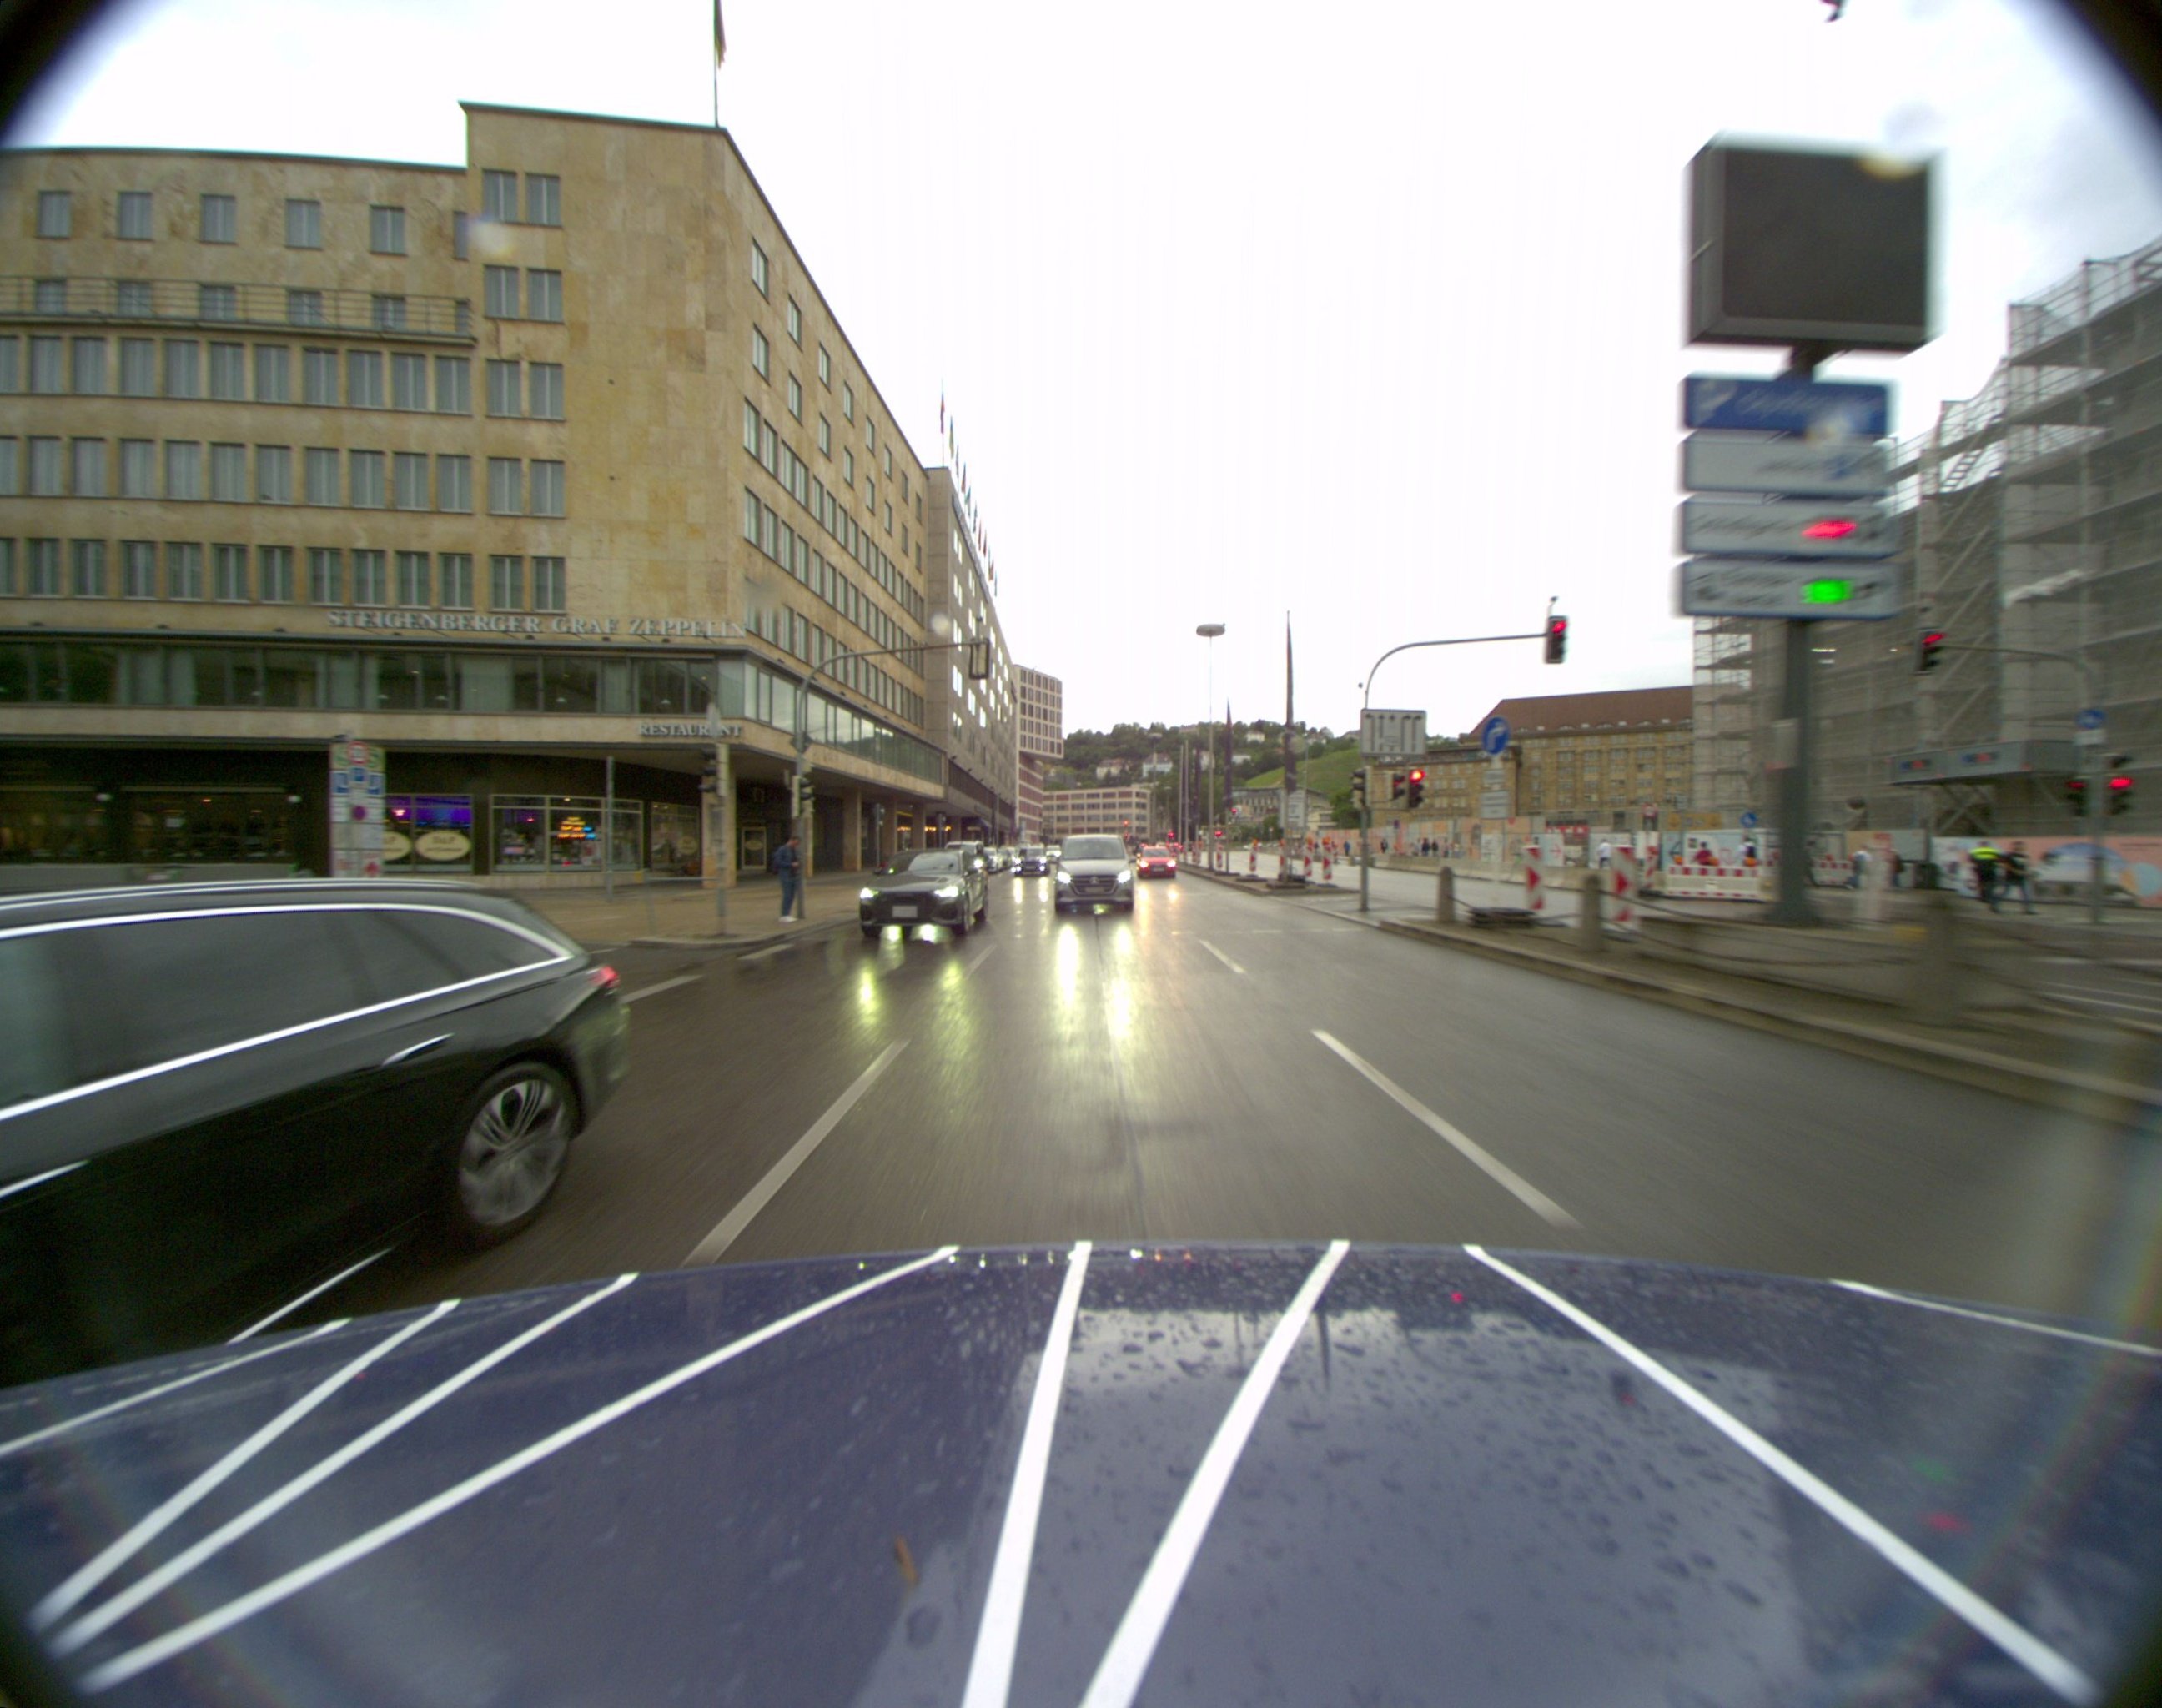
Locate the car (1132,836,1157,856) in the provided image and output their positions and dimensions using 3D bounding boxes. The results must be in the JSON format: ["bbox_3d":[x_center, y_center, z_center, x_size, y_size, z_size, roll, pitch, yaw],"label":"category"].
[{"bbox_3d":[5.003,-0.657,59.887,1.672,1.513,3.724,-1,1,0],"label":"car"}]

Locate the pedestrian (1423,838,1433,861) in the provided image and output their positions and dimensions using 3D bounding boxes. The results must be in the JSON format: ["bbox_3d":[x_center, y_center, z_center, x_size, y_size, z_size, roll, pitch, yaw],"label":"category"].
[{"bbox_3d":[26.416,-0.357,57.868,0.517,1.745,0.463,-1,2,0],"label":"pedestrian"}]

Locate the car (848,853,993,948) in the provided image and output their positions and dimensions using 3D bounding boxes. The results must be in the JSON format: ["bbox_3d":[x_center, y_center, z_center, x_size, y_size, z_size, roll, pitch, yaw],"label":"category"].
[{"bbox_3d":[-2.894,0.769,14.667,1.877,1.499,4.163,0,1,0],"label":"car"}]

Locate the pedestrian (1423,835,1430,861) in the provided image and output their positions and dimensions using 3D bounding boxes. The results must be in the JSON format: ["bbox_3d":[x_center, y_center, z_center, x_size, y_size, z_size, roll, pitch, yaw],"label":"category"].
[{"bbox_3d":[23.909,-0.406,52.563,0.368,1.760,0.365,-1,1,1],"label":"pedestrian"}]

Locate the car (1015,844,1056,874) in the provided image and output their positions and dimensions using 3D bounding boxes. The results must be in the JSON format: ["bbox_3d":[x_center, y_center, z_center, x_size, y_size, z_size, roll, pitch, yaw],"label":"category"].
[{"bbox_3d":[-2.435,0.250,41.617,1.998,1.549,3.907,0,1,0],"label":"car"}]

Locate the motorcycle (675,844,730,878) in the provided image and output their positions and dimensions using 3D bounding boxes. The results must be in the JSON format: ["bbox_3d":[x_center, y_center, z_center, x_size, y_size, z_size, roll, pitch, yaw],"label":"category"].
[{"bbox_3d":[-16.678,0.282,33.585,0.964,1.445,2.850,0,1,0],"label":"motorcycle"}]

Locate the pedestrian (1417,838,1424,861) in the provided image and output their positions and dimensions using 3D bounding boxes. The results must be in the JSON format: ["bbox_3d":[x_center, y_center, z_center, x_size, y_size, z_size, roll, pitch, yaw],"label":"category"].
[{"bbox_3d":[23.553,-0.334,52.673,0.350,1.607,0.321,-1,1,1],"label":"pedestrian"}]

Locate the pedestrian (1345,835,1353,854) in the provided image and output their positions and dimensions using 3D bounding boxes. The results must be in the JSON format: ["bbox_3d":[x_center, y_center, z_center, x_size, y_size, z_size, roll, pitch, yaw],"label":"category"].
[{"bbox_3d":[27.912,-0.986,79.067,0.593,2.022,0.686,-1,1,0],"label":"pedestrian"}]

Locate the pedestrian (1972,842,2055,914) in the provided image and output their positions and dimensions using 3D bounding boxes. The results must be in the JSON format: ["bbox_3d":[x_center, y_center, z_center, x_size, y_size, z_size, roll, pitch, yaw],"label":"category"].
[{"bbox_3d":[22.130,0.554,18.051,0.756,1.671,0.964,0,1,0],"label":"pedestrian"}]

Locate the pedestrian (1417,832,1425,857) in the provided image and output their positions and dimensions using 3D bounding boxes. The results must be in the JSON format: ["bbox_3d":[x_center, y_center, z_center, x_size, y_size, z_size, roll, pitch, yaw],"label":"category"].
[{"bbox_3d":[24.074,-0.706,53.829,0.367,1.760,0.390,-1,1,4],"label":"pedestrian"}]

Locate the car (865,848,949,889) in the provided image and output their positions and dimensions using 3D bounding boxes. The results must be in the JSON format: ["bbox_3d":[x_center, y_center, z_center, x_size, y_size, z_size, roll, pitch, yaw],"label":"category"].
[{"bbox_3d":[-6.627,0.515,29.523,2.194,1.406,4.481,0,1,0],"label":"car"}]

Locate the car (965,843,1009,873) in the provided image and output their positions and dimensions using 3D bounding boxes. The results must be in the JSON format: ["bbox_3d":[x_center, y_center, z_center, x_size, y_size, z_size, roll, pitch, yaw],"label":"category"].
[{"bbox_3d":[-5.570,0.193,45.602,1.998,1.644,5.133,0,1,0],"label":"car"}]

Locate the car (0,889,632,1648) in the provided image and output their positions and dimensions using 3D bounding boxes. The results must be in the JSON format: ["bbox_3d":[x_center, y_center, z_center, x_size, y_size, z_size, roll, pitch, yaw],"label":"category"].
[{"bbox_3d":[-3.194,0.956,1.461,1.823,1.455,4.699,-1,1,0],"label":"car"}]

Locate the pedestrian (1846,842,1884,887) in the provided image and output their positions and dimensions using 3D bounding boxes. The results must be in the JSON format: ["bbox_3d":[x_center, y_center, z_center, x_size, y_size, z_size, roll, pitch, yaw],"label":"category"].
[{"bbox_3d":[29.433,0.375,28.527,0.665,1.655,0.697,-1,3,-11],"label":"pedestrian"}]

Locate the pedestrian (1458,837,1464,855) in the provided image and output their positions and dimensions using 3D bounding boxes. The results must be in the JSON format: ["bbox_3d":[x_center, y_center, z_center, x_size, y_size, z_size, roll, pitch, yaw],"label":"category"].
[{"bbox_3d":[25.561,-0.538,51.126,0.255,1.187,0.390,-1,2,6],"label":"pedestrian"}]

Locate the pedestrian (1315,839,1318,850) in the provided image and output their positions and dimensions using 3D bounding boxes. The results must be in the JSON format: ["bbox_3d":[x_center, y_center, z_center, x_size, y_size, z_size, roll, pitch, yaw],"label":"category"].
[{"bbox_3d":[28.323,-1.158,91.237,0.271,1.304,0.351,-1,1,0],"label":"pedestrian"}]

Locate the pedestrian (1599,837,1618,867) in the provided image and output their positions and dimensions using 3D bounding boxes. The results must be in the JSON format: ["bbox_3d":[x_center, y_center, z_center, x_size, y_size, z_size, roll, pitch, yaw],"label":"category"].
[{"bbox_3d":[25.780,-0.115,37.115,0.565,1.435,0.528,0,2,8],"label":"pedestrian"}]

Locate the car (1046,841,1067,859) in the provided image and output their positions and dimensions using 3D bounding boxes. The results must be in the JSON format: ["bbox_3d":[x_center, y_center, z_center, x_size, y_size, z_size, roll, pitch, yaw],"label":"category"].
[{"bbox_3d":[-2.291,-0.372,70.762,1.763,1.582,3.841,-1,1,0],"label":"car"}]

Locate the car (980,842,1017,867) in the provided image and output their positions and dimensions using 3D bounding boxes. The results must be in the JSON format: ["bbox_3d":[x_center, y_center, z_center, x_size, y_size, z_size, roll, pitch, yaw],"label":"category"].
[{"bbox_3d":[-5.530,-0.006,51.575,1.998,1.627,4.559,0,1,0],"label":"car"}]

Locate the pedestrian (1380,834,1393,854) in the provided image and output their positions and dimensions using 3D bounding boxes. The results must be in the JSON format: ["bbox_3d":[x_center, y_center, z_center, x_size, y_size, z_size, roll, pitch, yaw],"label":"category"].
[{"bbox_3d":[25.494,-0.835,63.453,0.807,1.675,0.617,0,2,3],"label":"pedestrian"}]

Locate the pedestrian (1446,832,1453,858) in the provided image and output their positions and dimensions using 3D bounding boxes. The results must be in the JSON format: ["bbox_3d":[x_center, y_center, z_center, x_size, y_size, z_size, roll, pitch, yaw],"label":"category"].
[{"bbox_3d":[25.014,-0.625,51.553,0.314,1.760,0.268,-1,2,4],"label":"pedestrian"}]

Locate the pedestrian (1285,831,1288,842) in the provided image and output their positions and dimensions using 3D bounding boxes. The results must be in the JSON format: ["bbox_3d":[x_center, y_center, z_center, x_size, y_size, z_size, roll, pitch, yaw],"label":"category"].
[{"bbox_3d":[30.814,-2.591,113.957,0.334,1.607,0.323,-1,1,0],"label":"pedestrian"}]

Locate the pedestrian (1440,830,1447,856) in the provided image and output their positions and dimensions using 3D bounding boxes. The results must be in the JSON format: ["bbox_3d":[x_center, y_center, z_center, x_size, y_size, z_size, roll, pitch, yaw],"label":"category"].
[{"bbox_3d":[24.614,-0.716,51.578,0.311,1.760,0.346,-1,1,4],"label":"pedestrian"}]

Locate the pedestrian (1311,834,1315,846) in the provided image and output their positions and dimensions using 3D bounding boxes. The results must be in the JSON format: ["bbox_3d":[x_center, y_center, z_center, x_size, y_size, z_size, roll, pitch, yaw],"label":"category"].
[{"bbox_3d":[28.947,-1.736,94.881,0.438,1.407,0.413,-1,1,0],"label":"pedestrian"}]

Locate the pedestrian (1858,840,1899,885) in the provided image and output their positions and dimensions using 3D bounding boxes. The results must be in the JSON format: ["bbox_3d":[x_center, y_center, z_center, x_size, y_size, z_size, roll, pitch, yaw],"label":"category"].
[{"bbox_3d":[31.226,0.306,29.764,0.710,1.726,0.952,-1,2,-29],"label":"pedestrian"}]

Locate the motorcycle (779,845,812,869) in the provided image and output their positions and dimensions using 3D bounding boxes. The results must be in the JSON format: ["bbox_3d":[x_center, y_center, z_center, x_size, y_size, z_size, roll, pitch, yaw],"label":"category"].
[{"bbox_3d":[-15.171,0.159,40.448,0.730,1.223,2.536,0,1,0],"label":"motorcycle"}]

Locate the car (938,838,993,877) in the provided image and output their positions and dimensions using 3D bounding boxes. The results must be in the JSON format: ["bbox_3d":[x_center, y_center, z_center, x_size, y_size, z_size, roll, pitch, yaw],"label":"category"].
[{"bbox_3d":[-5.850,0.141,39.115,1.998,1.874,4.996,0,1,0],"label":"car"}]

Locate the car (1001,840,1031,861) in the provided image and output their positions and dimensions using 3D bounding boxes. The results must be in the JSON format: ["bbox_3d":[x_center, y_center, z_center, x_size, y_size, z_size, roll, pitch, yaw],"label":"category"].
[{"bbox_3d":[-5.379,-0.332,63.197,1.998,1.605,4.917,0,1,0],"label":"car"}]

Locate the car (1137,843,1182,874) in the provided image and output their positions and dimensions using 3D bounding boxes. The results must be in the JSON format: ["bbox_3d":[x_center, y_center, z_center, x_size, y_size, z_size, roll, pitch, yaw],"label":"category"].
[{"bbox_3d":[3.639,0.184,35.862,1.747,1.369,3.999,0,1,0],"label":"car"}]

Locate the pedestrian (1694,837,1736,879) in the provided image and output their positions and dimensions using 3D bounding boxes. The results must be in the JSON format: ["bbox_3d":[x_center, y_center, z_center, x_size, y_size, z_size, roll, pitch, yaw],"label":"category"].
[{"bbox_3d":[24.083,0.154,28.870,0.953,1.558,0.709,0,2,1],"label":"pedestrian"}]

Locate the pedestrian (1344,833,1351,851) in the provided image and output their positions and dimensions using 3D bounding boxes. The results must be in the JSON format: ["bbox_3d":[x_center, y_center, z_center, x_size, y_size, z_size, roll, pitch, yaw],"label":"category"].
[{"bbox_3d":[30.264,-1.336,86.338,0.542,2.002,0.490,-1,2,0],"label":"pedestrian"}]

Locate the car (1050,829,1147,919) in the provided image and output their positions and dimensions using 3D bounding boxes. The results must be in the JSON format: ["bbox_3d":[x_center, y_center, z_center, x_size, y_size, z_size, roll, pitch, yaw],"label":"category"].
[{"bbox_3d":[0.271,0.388,19.010,1.999,1.893,5.248,-2,1,-3],"label":"car"}]

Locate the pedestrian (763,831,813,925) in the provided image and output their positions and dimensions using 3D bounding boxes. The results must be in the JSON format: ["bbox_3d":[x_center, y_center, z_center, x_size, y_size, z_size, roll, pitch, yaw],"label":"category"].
[{"bbox_3d":[-6.090,0.481,15.830,0.674,1.908,0.792,-1,1,0],"label":"pedestrian"}]

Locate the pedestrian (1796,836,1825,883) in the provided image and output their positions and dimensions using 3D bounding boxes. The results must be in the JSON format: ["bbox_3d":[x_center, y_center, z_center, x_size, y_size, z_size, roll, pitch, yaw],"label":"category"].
[{"bbox_3d":[27.381,0.205,28.523,0.648,1.759,0.527,0,2,31],"label":"pedestrian"}]

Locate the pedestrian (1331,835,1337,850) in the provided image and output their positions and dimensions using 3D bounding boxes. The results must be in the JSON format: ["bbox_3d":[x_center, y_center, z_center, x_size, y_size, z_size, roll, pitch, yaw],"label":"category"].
[{"bbox_3d":[26.484,-1.190,79.498,0.438,1.607,0.413,-1,1,0],"label":"pedestrian"}]

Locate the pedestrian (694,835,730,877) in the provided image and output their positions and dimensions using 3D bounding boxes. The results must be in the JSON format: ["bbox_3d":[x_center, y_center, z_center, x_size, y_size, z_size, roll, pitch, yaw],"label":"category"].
[{"bbox_3d":[-16.285,0.066,33.583,1.000,1.837,1.109,0,2,2],"label":"pedestrian"}]

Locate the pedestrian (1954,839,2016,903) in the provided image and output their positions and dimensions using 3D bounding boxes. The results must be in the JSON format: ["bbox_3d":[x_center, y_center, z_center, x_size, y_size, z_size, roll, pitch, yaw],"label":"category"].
[{"bbox_3d":[25.982,0.462,21.842,0.872,1.802,0.756,-1,2,-5],"label":"pedestrian"}]

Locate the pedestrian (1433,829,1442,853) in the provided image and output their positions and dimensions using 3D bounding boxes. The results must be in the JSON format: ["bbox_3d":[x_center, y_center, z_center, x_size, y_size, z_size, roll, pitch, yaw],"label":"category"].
[{"bbox_3d":[24.589,-0.892,52.394,0.400,1.611,0.365,-1,2,5],"label":"pedestrian"}]

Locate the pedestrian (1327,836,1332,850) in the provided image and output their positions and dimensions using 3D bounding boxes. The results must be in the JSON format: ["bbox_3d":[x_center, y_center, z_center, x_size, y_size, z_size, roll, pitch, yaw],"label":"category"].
[{"bbox_3d":[27.624,-1.216,84.454,0.438,1.607,0.413,-1,1,0],"label":"pedestrian"}]

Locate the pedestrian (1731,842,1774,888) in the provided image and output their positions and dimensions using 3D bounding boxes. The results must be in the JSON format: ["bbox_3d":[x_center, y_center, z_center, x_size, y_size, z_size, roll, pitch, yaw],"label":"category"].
[{"bbox_3d":[24.590,0.402,27.836,0.756,1.655,0.872,0,1,1],"label":"pedestrian"}]

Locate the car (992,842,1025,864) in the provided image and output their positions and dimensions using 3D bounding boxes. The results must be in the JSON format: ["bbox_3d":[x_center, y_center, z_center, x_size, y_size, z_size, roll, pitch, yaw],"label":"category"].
[{"bbox_3d":[-5.446,-0.121,57.606,1.998,1.600,4.875,0,1,0],"label":"car"}]
